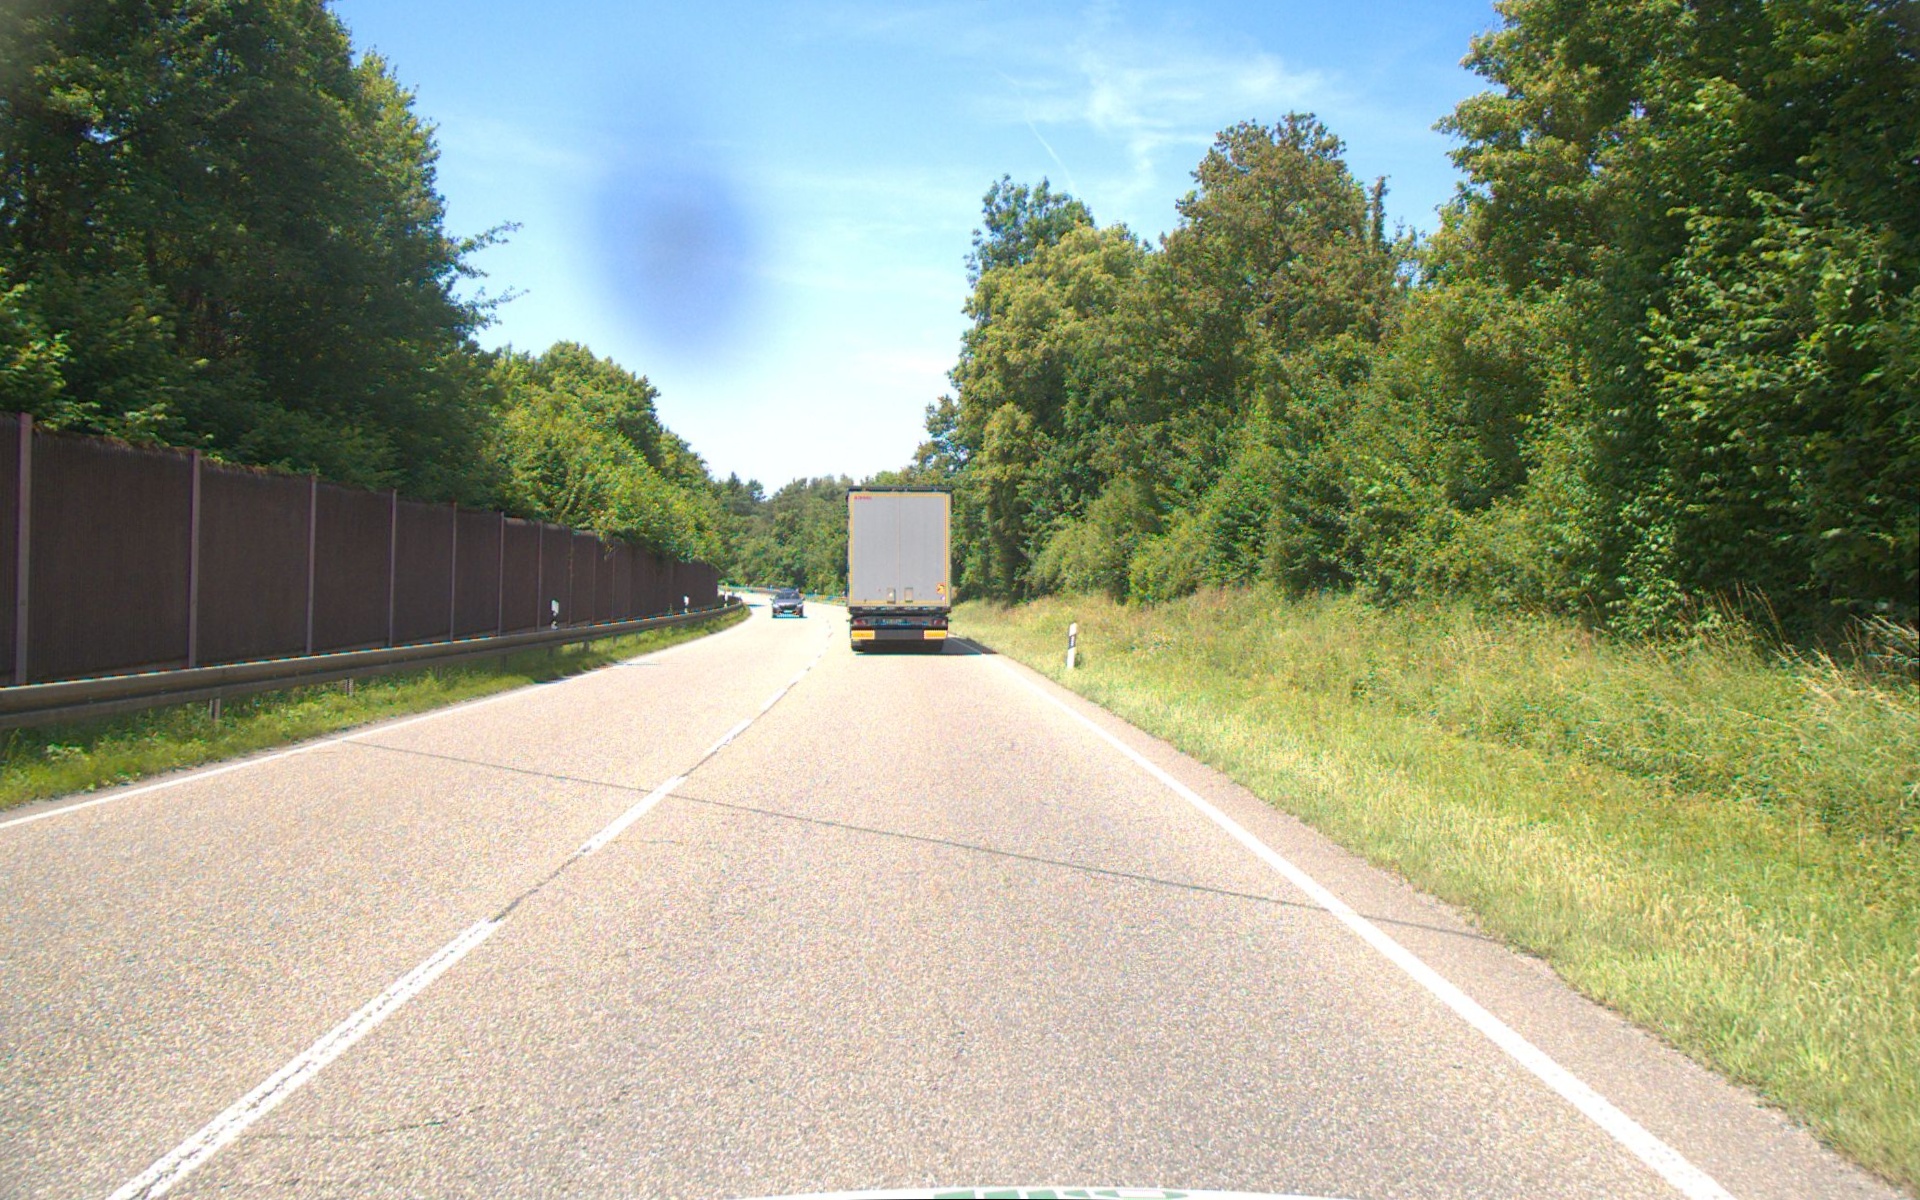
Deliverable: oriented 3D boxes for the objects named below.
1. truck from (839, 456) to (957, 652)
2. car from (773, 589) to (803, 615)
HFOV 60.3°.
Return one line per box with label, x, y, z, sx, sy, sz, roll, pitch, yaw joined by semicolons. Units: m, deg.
truck;-1.480;-1.070;42.959;2.765;4.684;6.664;0;-1;0
car;-9.953;0.104;95.501;1.587;1.517;3.609;0;0;-9
